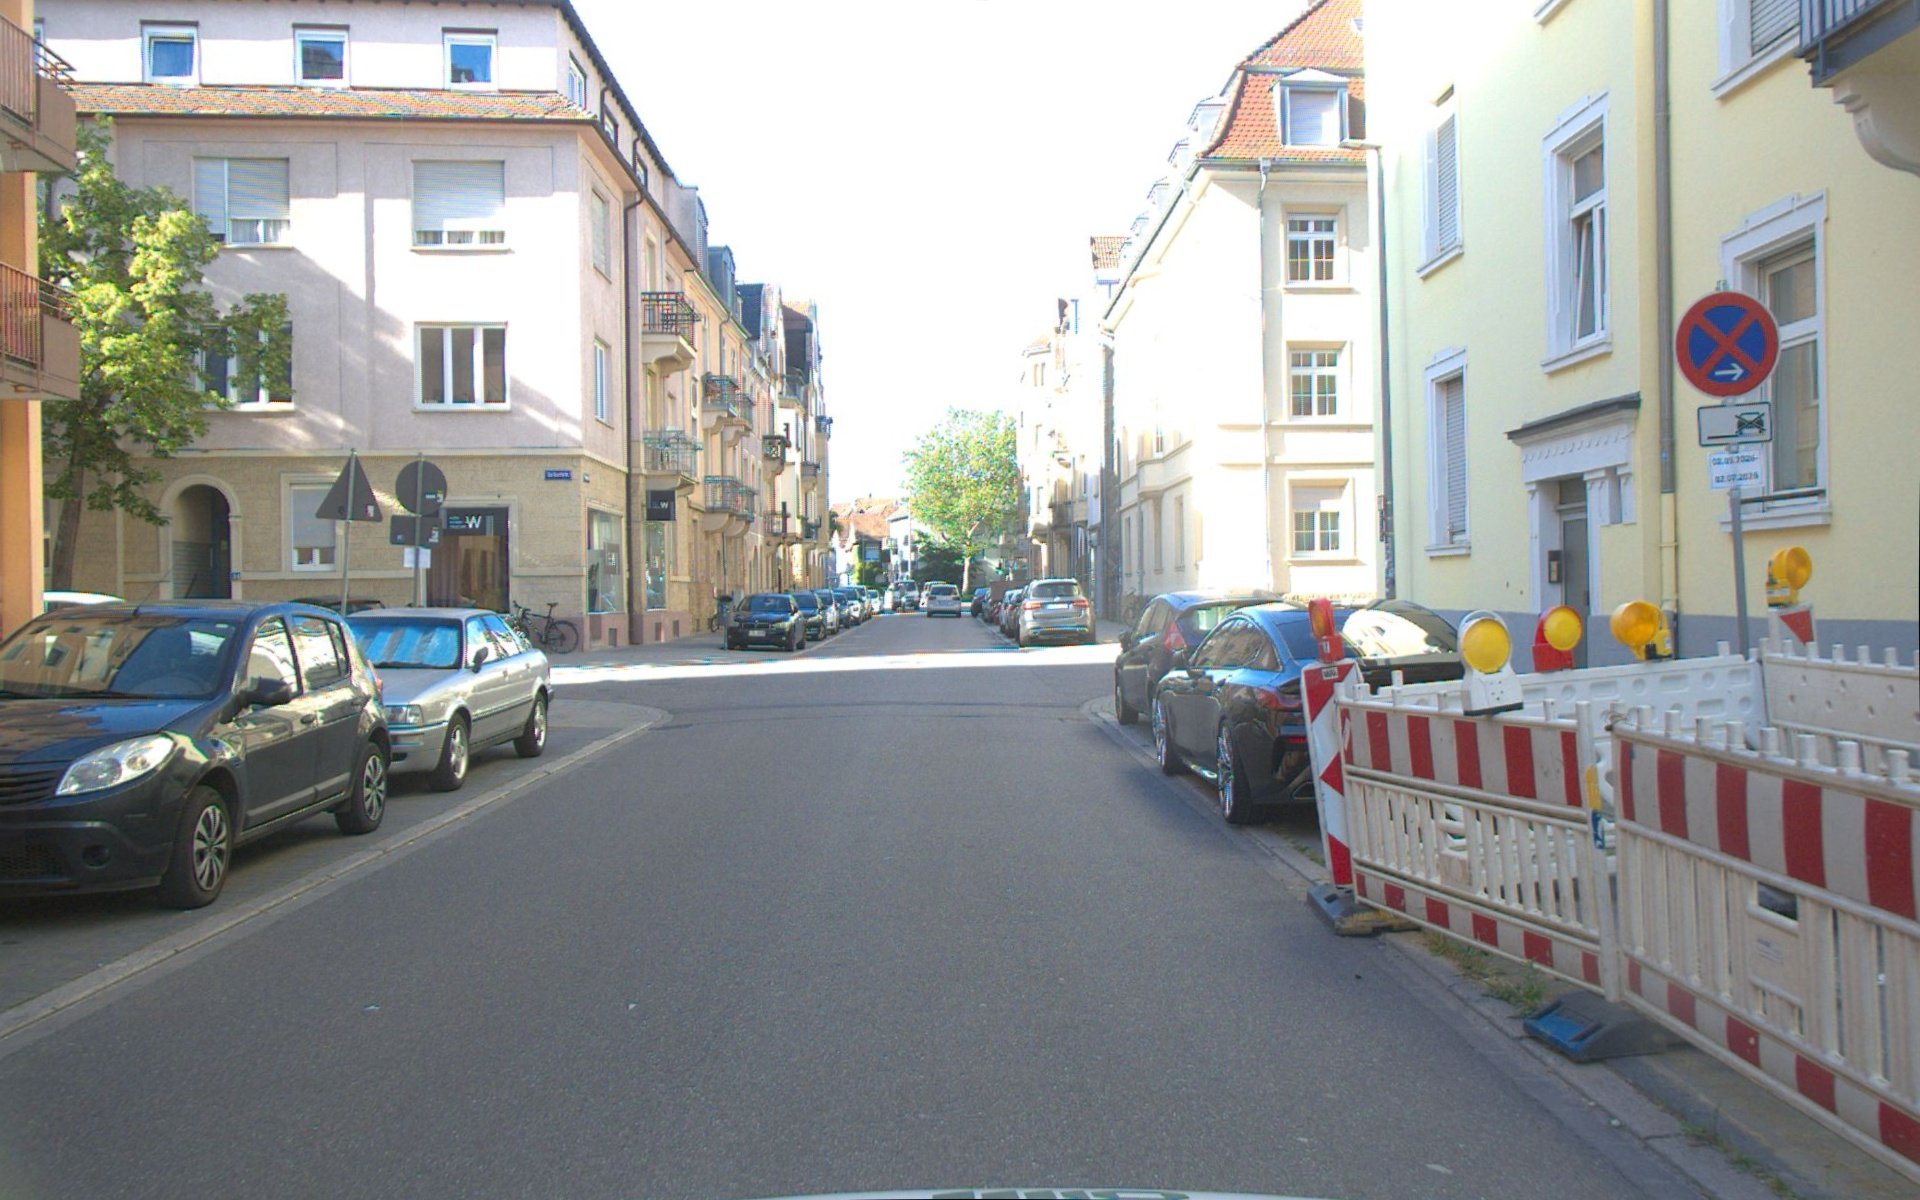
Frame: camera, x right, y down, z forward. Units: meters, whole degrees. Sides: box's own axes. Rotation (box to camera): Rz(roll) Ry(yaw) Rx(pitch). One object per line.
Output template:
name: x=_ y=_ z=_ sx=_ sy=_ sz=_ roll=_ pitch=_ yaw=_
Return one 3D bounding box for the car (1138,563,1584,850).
car: x=2.557 y=0.571 z=11.951 sx=1.765 sy=1.496 sz=5.110 roll=-4 pitch=1 yaw=-2

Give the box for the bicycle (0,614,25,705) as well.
bicycle: x=-11.830 y=0.727 z=19.660 sx=0.493 sy=1.082 sz=1.891 roll=1 pitch=0 yaw=-5

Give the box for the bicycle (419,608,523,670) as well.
bicycle: x=-9.705 y=0.774 z=32.876 sx=1.859 sy=1.155 sz=0.526 roll=-2 pitch=2 yaw=0

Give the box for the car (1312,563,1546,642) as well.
car: x=10.004 y=0.067 z=35.439 sx=4.452 sy=1.494 sz=1.825 roll=-2 pitch=-1 yaw=-8

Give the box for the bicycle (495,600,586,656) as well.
bicycle: x=-9.270 y=0.611 z=36.636 sx=1.863 sy=1.155 sz=0.647 roll=-1 pitch=2 yaw=-8

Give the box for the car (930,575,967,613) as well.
car: x=-0.638 y=-0.312 z=88.330 sx=1.963 sy=1.947 sz=4.486 roll=0 pitch=0 yaw=-1

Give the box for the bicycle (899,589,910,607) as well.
bicycle: x=-3.452 y=-0.115 z=102.734 sx=0.649 sy=1.036 sz=2.065 roll=-3 pitch=0 yaw=-2

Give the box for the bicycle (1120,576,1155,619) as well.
bicycle: x=5.546 y=-0.094 z=51.812 sx=0.746 sy=1.268 sz=2.591 roll=-2 pitch=1 yaw=-1

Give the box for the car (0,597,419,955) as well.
car: x=-4.532 y=0.800 z=9.317 sx=1.727 sy=1.528 sz=3.998 roll=-2 pitch=1 yaw=-2

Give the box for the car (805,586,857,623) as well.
car: x=-5.377 y=0.186 z=69.263 sx=1.939 sy=1.508 sz=4.326 roll=0 pitch=0 yaw=-2

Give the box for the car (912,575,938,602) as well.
car: x=-2.749 y=-0.889 z=129.107 sx=1.963 sy=2.035 sz=4.485 roll=0 pitch=0 yaw=-2

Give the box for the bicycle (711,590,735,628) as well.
bicycle: x=-8.344 y=0.302 z=58.241 sx=0.530 sy=1.324 sz=1.866 roll=-1 pitch=0 yaw=0

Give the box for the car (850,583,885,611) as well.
car: x=-5.574 y=-0.154 z=100.015 sx=1.963 sy=1.633 sz=4.485 roll=0 pitch=0 yaw=-2

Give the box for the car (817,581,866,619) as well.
car: x=-5.272 y=0.003 z=73.986 sx=1.963 sy=1.647 sz=4.485 roll=0 pitch=0 yaw=-2

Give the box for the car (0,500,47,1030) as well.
car: x=-4.373 y=0.647 z=3.927 sx=1.727 sy=1.959 sz=4.934 roll=-1 pitch=1 yaw=-1

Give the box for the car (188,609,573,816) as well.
car: x=-4.734 y=0.828 z=14.258 sx=1.726 sy=1.401 sz=4.478 roll=-1 pitch=1 yaw=0

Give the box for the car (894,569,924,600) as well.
car: x=-3.437 y=-1.018 z=111.211 sx=1.963 sy=2.035 sz=4.485 roll=0 pitch=0 yaw=-2

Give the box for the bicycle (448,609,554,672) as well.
bicycle: x=-8.908 y=0.786 z=32.129 sx=1.859 sy=1.155 sz=0.648 roll=-1 pitch=2 yaw=0

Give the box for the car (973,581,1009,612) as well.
car: x=1.663 y=-0.168 z=90.063 sx=1.801 sy=1.456 sz=4.028 roll=-3 pitch=-1 yaw=0

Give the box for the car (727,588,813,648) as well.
car: x=-4.834 y=0.445 z=42.511 sx=1.645 sy=1.451 sz=4.274 roll=0 pitch=0 yaw=1

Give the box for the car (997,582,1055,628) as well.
car: x=2.280 y=0.193 z=58.449 sx=1.801 sy=1.456 sz=4.028 roll=-3 pitch=-1 yaw=0

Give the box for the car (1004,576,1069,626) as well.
car: x=2.408 y=0.059 z=53.063 sx=1.801 sy=1.456 sz=4.028 roll=-3 pitch=-1 yaw=0

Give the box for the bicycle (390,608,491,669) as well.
bicycle: x=-10.667 y=0.785 z=33.967 sx=1.860 sy=1.155 sz=0.526 roll=-2 pitch=2 yaw=-4

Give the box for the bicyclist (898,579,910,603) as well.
bicyclist: x=-3.465 y=-0.548 z=102.756 sx=0.649 sy=1.409 sz=0.753 roll=-3 pitch=0 yaw=-2

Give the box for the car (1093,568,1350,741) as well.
car: x=2.633 y=0.488 z=17.606 sx=1.728 sy=1.496 sz=4.081 roll=-4 pitch=1 yaw=-4

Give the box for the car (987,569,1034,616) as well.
car: x=2.141 y=-0.304 z=71.248 sx=1.801 sy=1.818 sz=4.028 roll=-2 pitch=-1 yaw=0

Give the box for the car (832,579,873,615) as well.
car: x=-5.529 y=-0.147 z=85.632 sx=1.963 sy=1.819 sz=4.485 roll=0 pitch=0 yaw=-2

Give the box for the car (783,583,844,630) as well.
car: x=-5.309 y=0.245 z=60.469 sx=1.963 sy=1.647 sz=4.485 roll=0 pitch=0 yaw=-2

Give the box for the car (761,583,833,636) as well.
car: x=-5.174 y=0.308 z=52.994 sx=1.963 sy=1.610 sz=4.485 roll=0 pitch=0 yaw=-2

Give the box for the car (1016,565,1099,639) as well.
car: x=2.432 y=0.086 z=42.374 sx=1.874 sy=1.673 sz=4.774 roll=-3 pitch=-1 yaw=1

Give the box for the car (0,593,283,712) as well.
car: x=-12.944 y=0.780 z=25.409 sx=4.351 sy=1.620 sz=1.724 roll=-2 pitch=1 yaw=-8
